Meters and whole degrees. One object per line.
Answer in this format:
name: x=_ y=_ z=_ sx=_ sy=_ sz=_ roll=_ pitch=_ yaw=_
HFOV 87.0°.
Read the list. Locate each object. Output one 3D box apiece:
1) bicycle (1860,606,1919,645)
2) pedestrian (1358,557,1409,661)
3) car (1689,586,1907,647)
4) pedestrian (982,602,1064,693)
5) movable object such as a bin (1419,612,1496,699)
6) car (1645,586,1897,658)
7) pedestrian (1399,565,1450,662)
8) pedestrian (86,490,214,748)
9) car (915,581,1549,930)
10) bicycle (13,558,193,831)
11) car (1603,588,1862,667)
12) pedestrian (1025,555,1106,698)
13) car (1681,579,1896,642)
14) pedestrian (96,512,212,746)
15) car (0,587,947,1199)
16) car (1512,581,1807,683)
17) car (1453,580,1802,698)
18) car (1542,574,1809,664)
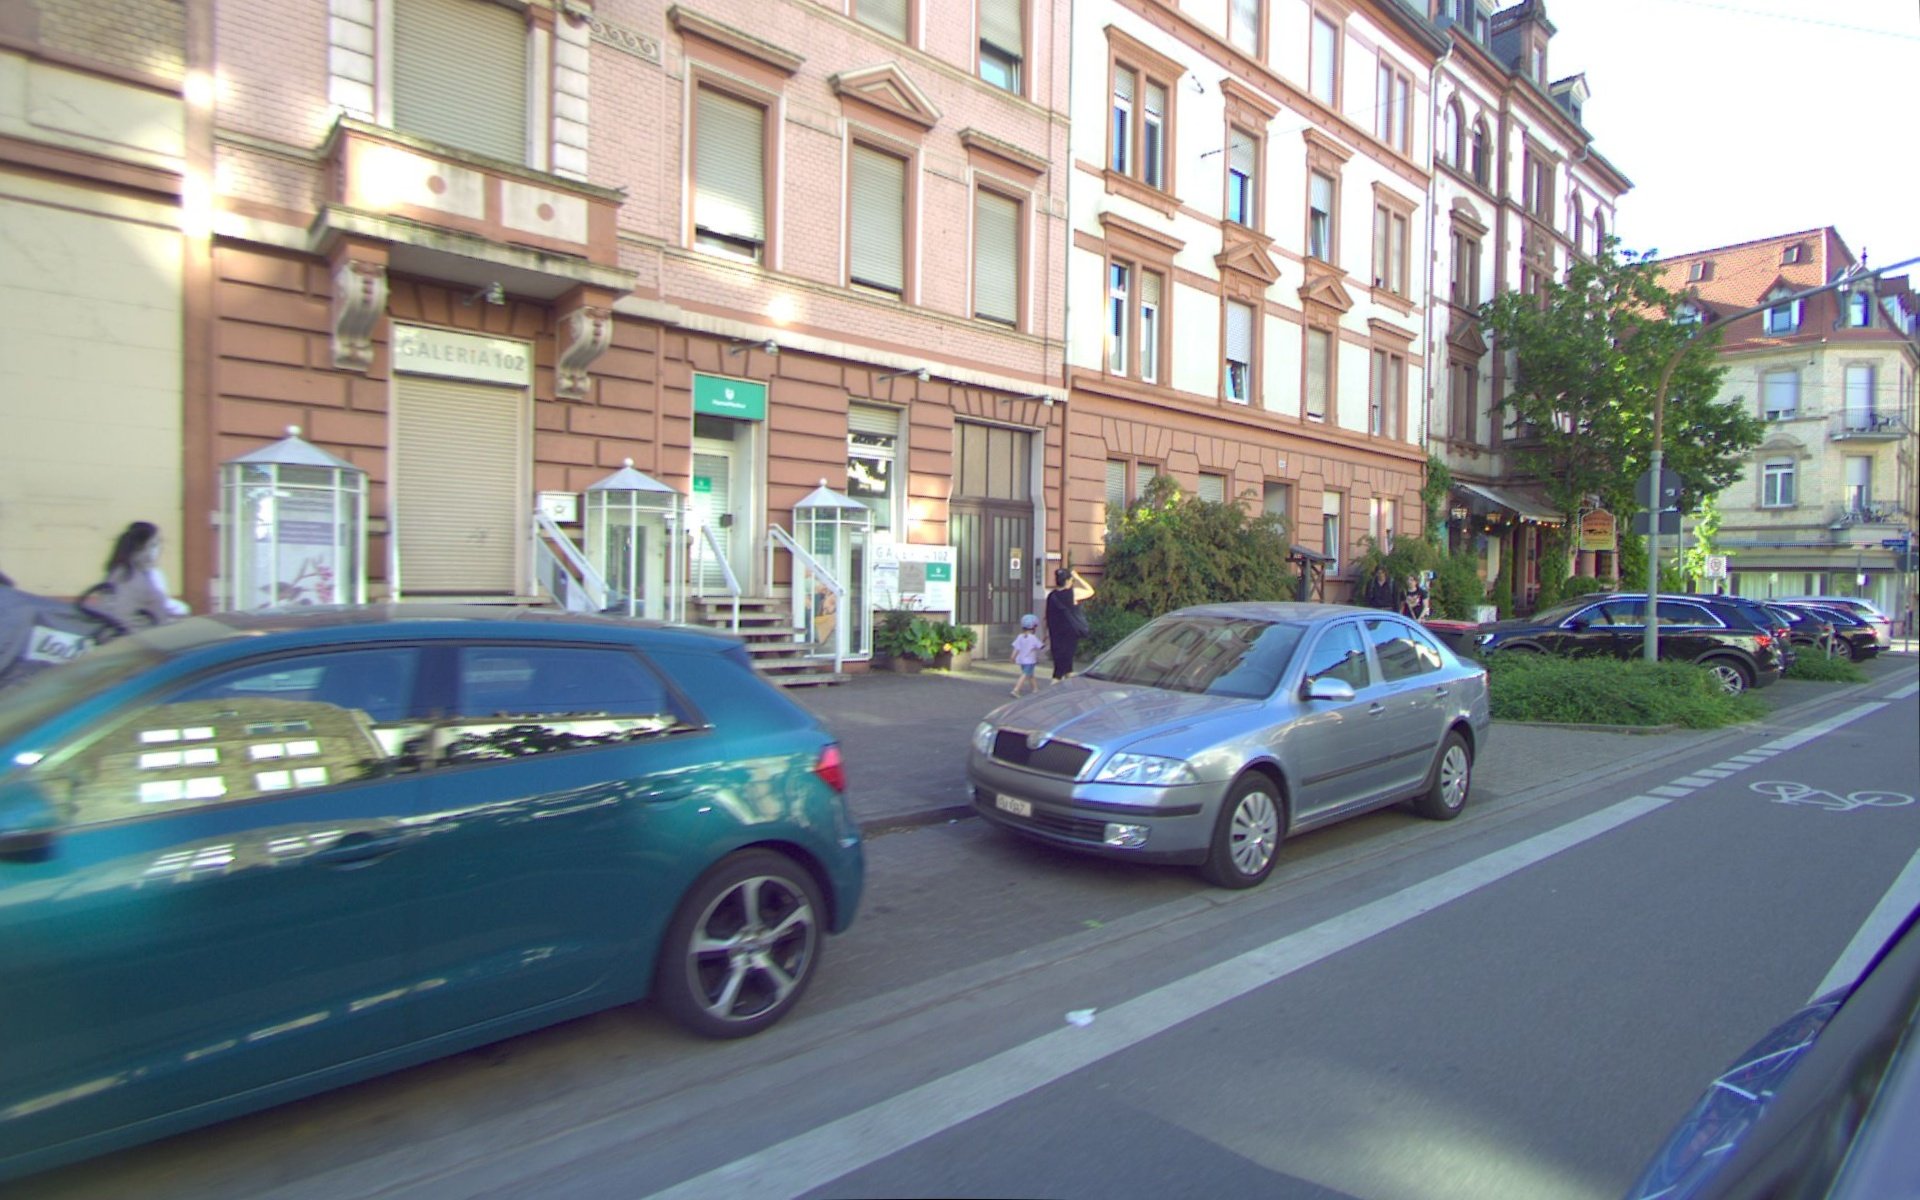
bicycle: x=28.325 y=0.769 z=30.757 sx=0.542 sy=1.141 sz=1.400 roll=0 pitch=1 yaw=-40
pedestrian: x=7.543 y=0.149 z=18.003 sx=0.848 sy=1.800 sz=0.519 roll=0 pitch=0 yaw=-41
car: x=23.238 y=0.411 z=28.290 sx=4.320 sy=1.616 sz=1.837 roll=0 pitch=1 yaw=26
pedestrian: x=0.758 y=0.549 z=12.202 sx=0.643 sy=0.992 sz=0.713 roll=0 pitch=4 yaw=-41
movable object such as a bin: x=6.319 y=0.684 z=12.850 sx=0.792 sy=1.040 sz=0.605 roll=0 pitch=1 yaw=-41
car: x=19.566 y=0.469 z=24.718 sx=4.403 sy=1.616 sz=2.071 roll=0 pitch=1 yaw=26
pedestrian: x=8.208 y=0.231 z=17.893 sx=0.848 sy=1.669 sz=0.519 roll=0 pitch=0 yaw=-41
pedestrian: x=-5.477 y=0.098 z=6.837 sx=0.643 sy=1.626 sz=0.713 roll=0 pitch=3 yaw=-41
car: x=2.096 y=0.692 z=6.913 sx=4.635 sy=1.616 sz=1.877 roll=-1 pitch=1 yaw=-40
bicycle: x=-4.723 y=0.399 z=5.562 sx=0.652 sy=1.236 sz=2.059 roll=0 pitch=1 yaw=-42
car: x=17.203 y=0.549 z=22.852 sx=4.287 sy=1.616 sz=2.028 roll=0 pitch=1 yaw=26
pedestrian: x=1.241 y=0.294 z=11.943 sx=0.643 sy=1.627 sz=0.713 roll=0 pitch=0 yaw=-41
car: x=21.492 y=0.237 z=26.475 sx=3.958 sy=1.556 sz=1.902 roll=0 pitch=1 yaw=26
pedestrian: x=-5.971 y=0.195 z=7.495 sx=0.643 sy=1.627 sz=0.713 roll=0 pitch=0 yaw=-41
car: x=-2.139 y=0.766 z=3.237 sx=3.930 sy=1.616 sz=1.877 roll=-1 pitch=1 yaw=-41
car: x=12.078 y=0.478 z=17.857 sx=3.958 sy=1.616 sz=2.070 roll=0 pitch=1 yaw=25
car: x=10.072 y=0.514 z=15.750 sx=4.272 sy=1.616 sz=1.965 roll=0 pitch=1 yaw=26
car: x=13.802 y=0.321 z=19.854 sx=3.958 sy=1.616 sz=1.942 roll=0 pitch=1 yaw=26
